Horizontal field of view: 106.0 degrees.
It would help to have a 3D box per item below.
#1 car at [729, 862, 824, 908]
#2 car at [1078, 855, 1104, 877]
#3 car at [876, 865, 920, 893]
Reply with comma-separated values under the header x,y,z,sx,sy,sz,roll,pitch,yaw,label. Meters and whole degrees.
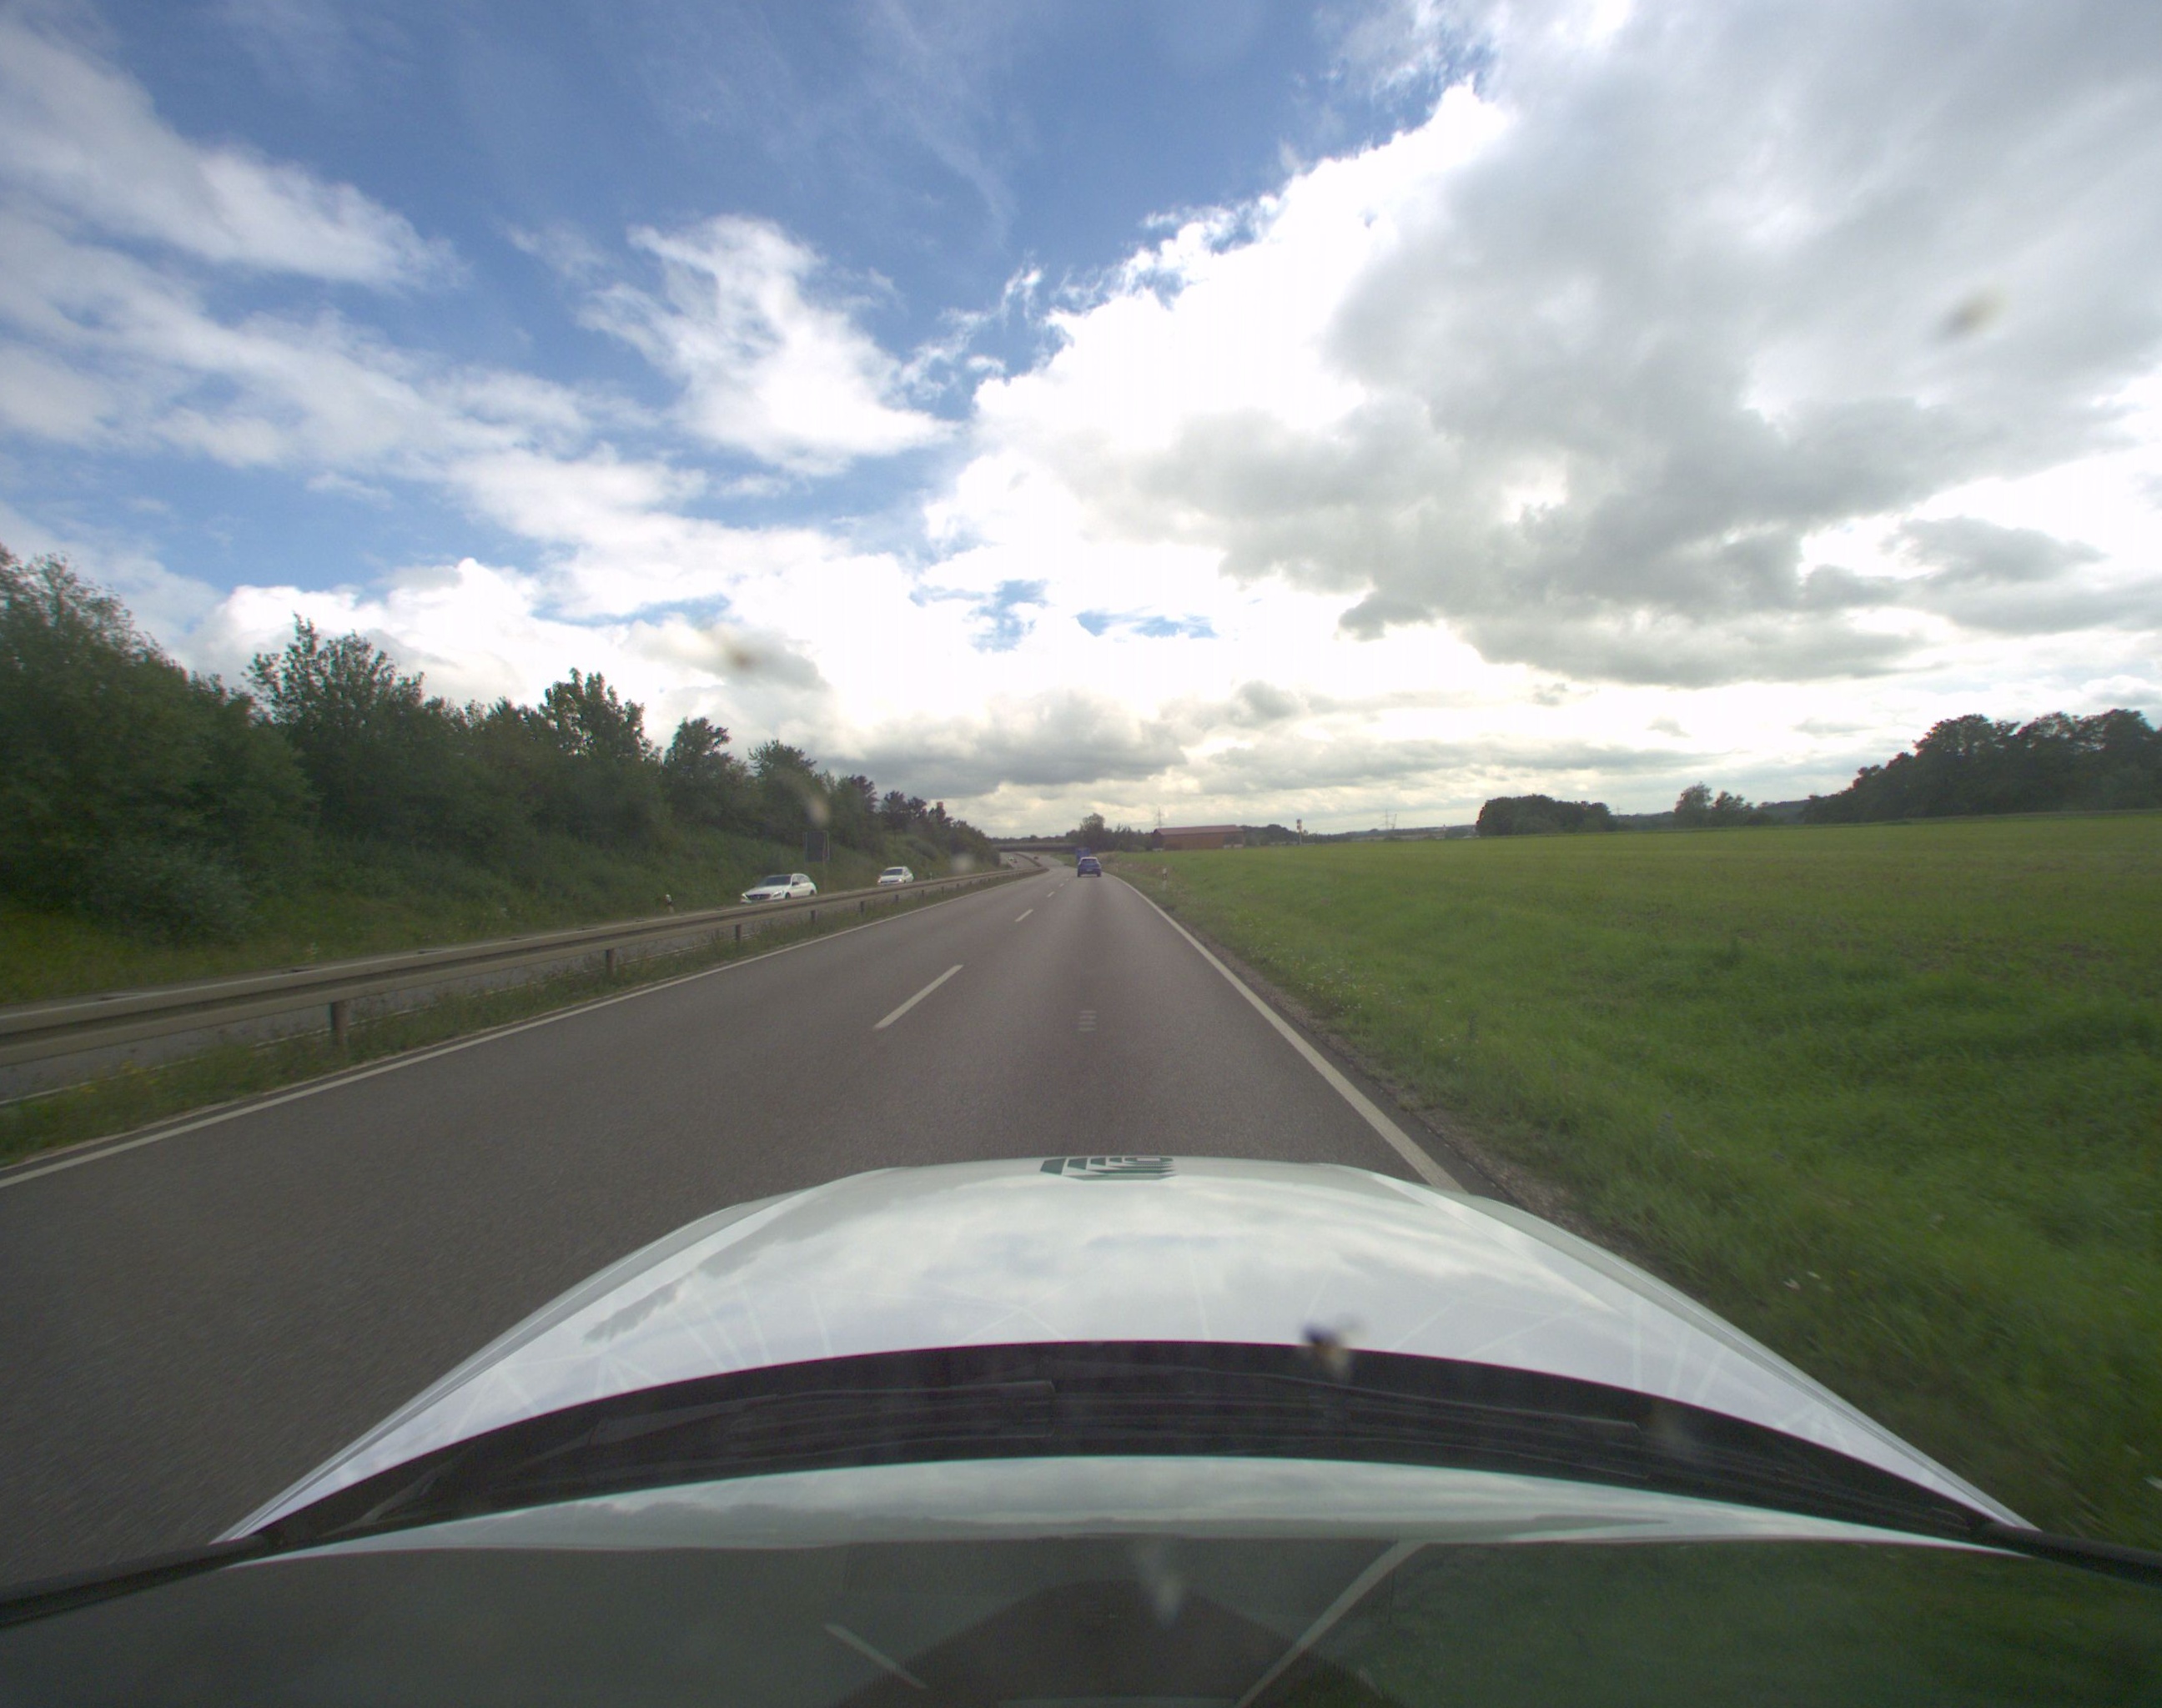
x,y,z,sx,sy,sz,roll,pitch,yaw,label
-12.651,1.236,34.225,1.986,1.517,4.990,-3,1,1,car
0.795,0.991,67.547,2.027,1.660,4.541,-1,1,-1,car
-12.346,1.670,55.195,1.914,1.517,4.463,-3,1,0,car
